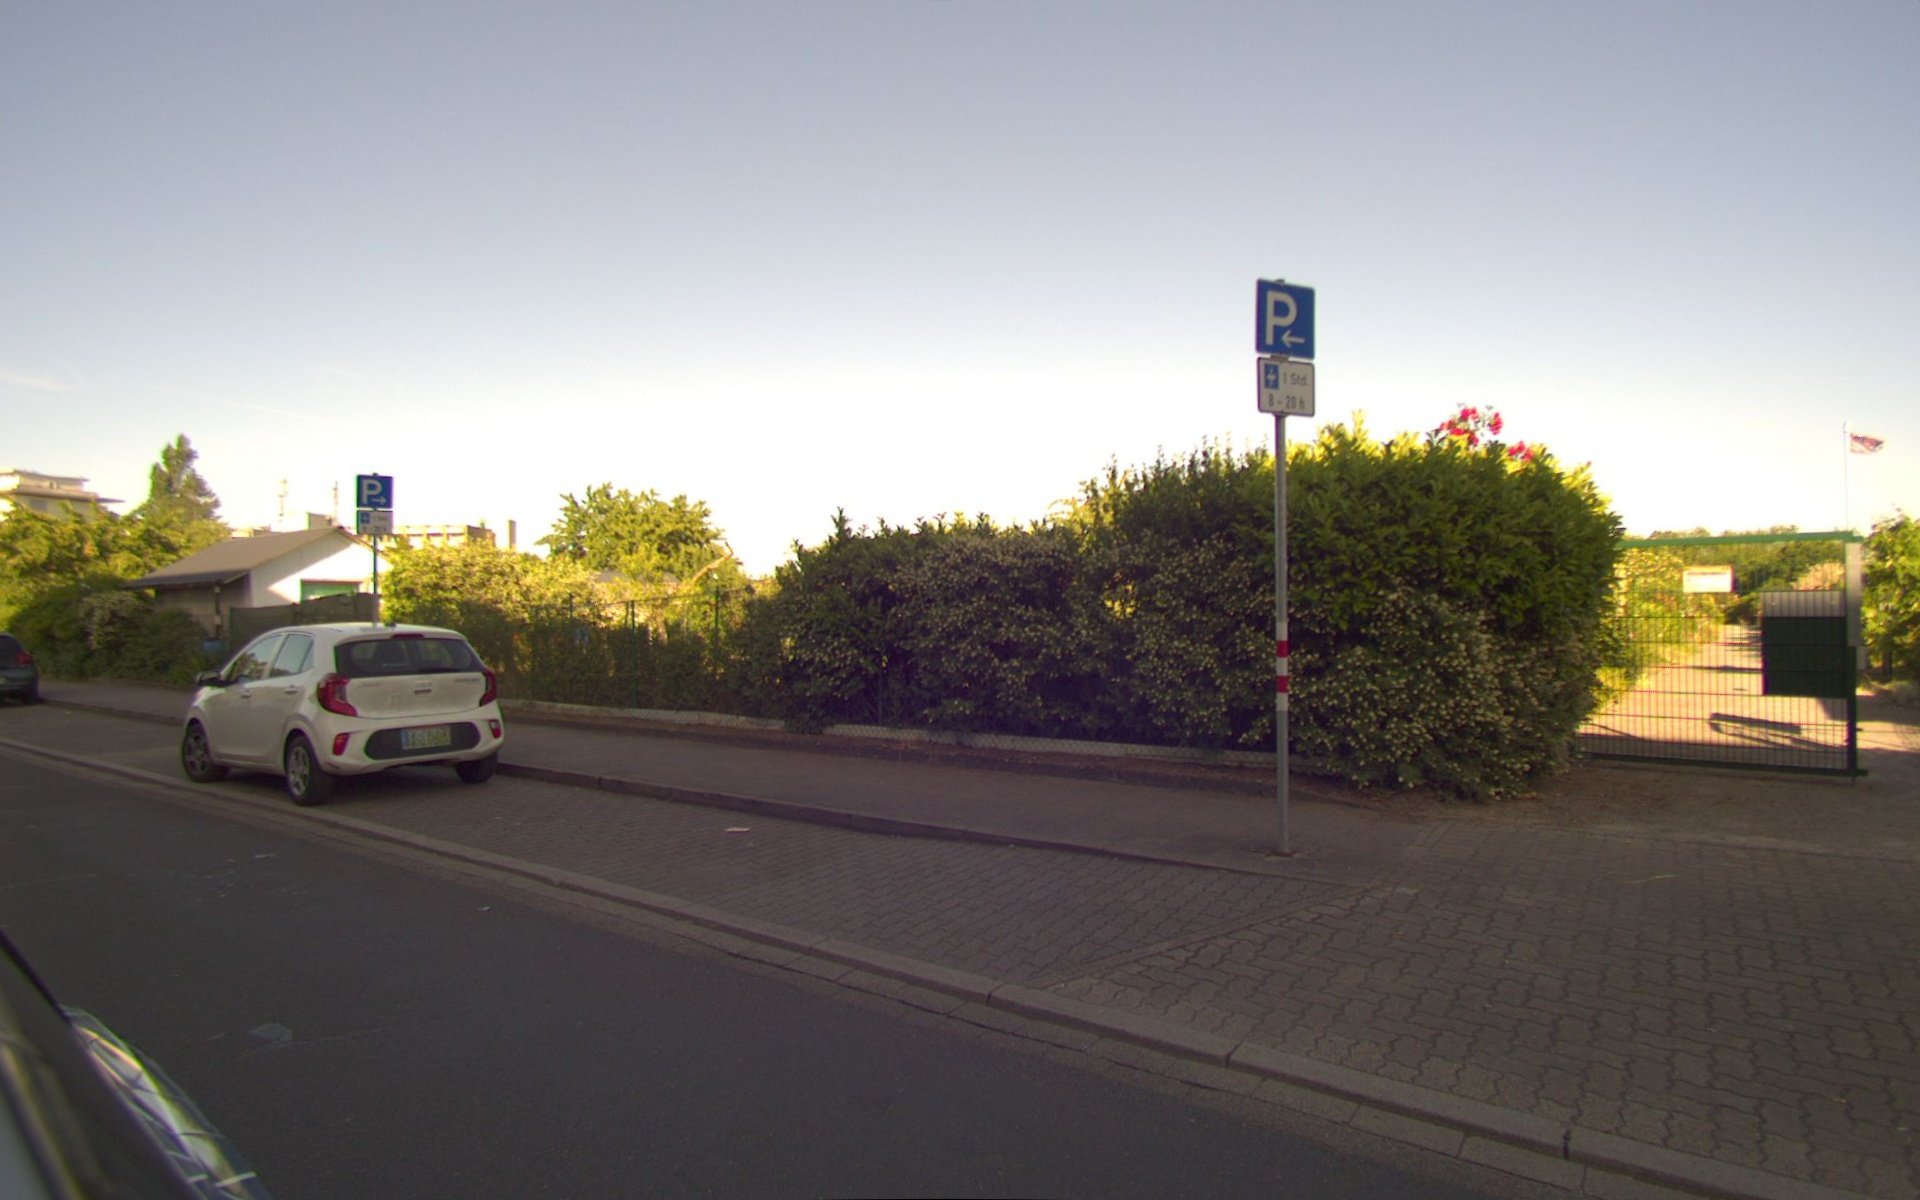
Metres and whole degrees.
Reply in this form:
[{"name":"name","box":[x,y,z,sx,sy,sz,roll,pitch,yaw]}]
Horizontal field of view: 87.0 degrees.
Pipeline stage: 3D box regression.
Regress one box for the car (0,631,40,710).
[{"name":"car","box":[-19.916,1.391,19.987,4.507,1.434,1.681,-2,0,36]}]

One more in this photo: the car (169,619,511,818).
[{"name":"car","box":[-5.803,0.959,9.364,3.395,1.499,1.514,-2,-1,36]}]
